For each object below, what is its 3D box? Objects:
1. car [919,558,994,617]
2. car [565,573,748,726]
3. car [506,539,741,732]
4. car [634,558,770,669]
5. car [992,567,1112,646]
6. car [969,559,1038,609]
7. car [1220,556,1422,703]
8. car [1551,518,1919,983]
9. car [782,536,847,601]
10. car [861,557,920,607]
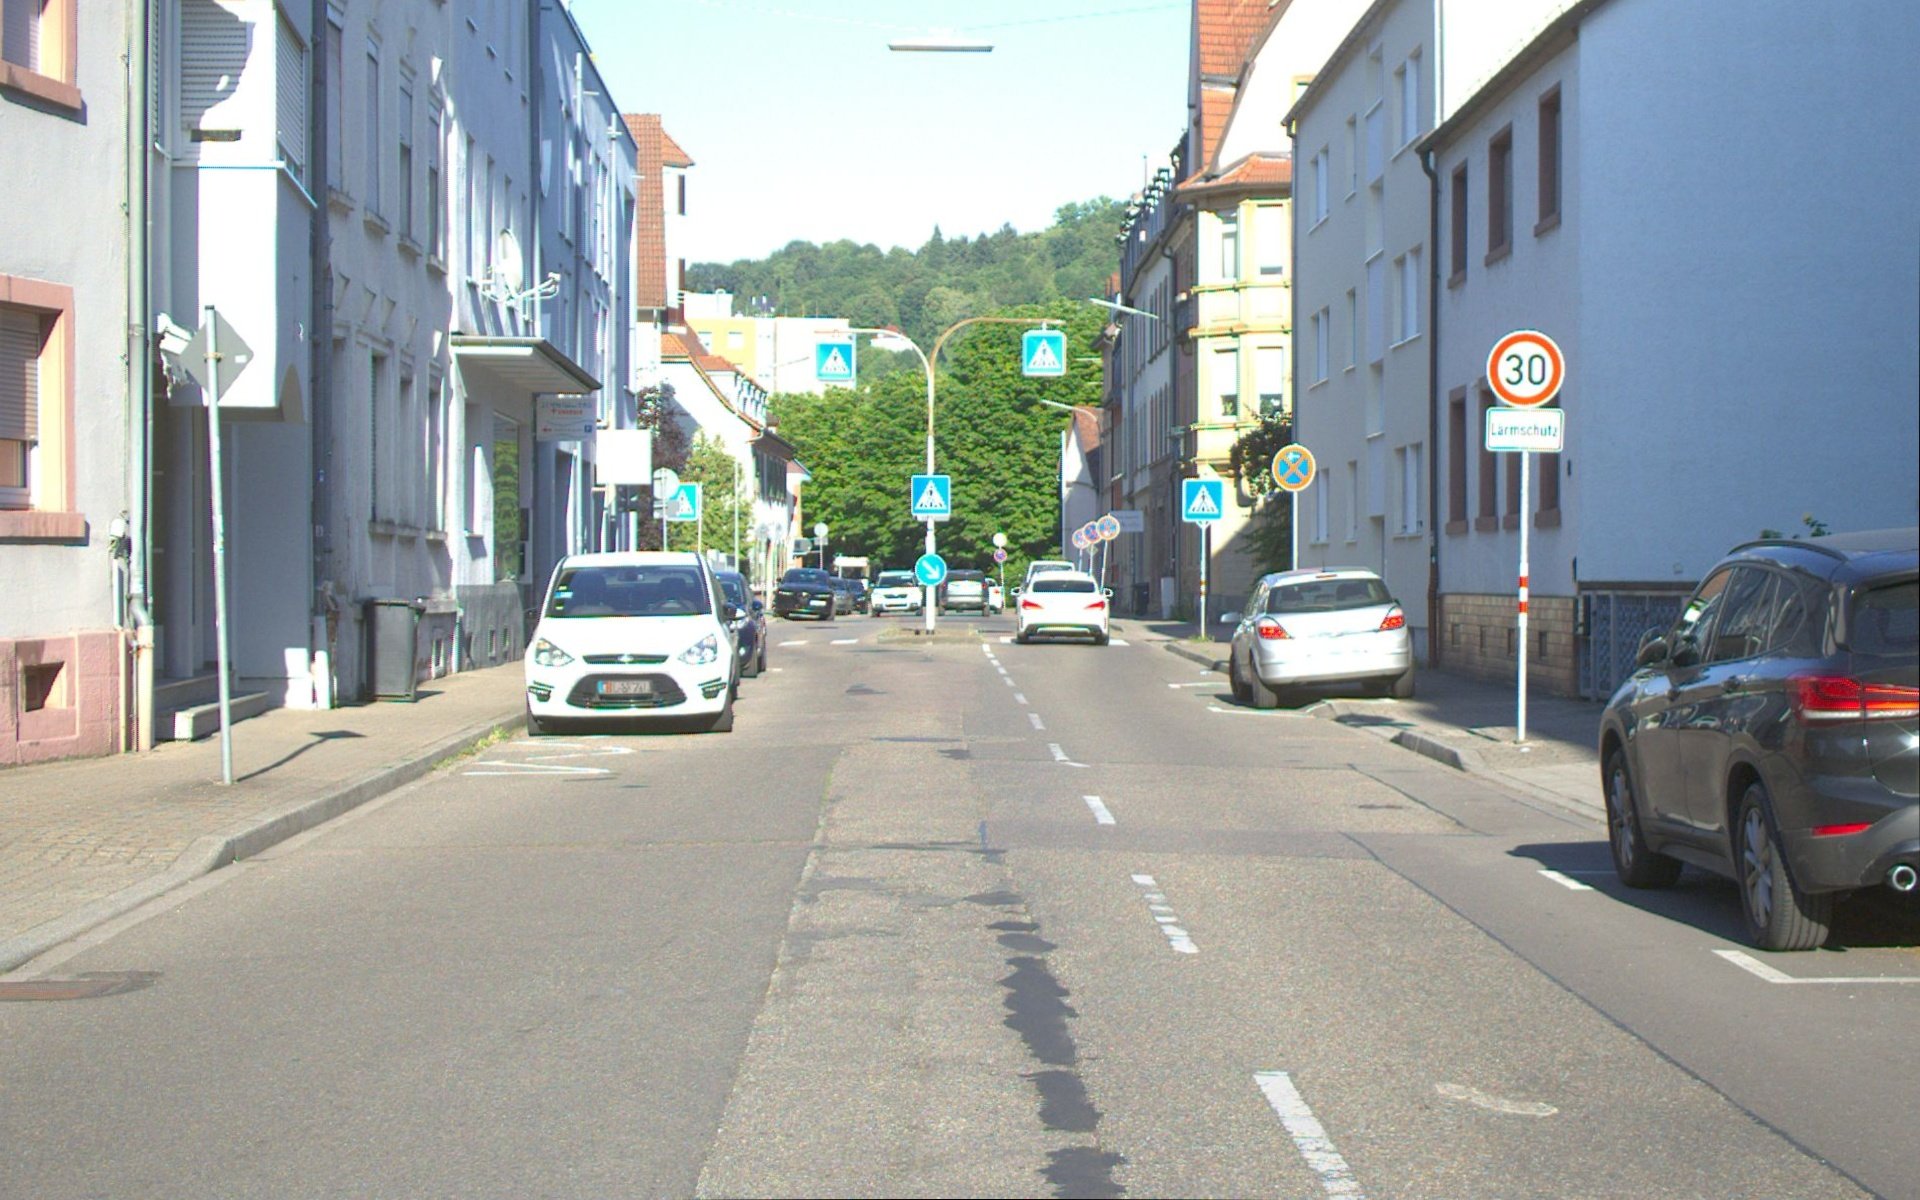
[{"bbox_3d":[-0.141,-0.458,120.437,1.993,2.007,4.001,-1,1,-9],"label":"car"},{"bbox_3d":[-3.271,0.492,37.703,1.764,1.490,4.127,-2,1,-2],"label":"car"},{"bbox_3d":[-3.055,0.270,32.056,1.993,1.642,5.222,0,1,-4],"label":"car"},{"bbox_3d":[-3.609,0.182,48.595,1.731,1.494,3.959,-1,0,-2],"label":"car"},{"bbox_3d":[1.753,0.107,66.785,1.993,1.461,4.000,0,0,-3],"label":"car"},{"bbox_3d":[1.744,-0.665,138.916,1.993,2.007,4.001,0,1,-11],"label":"car"},{"bbox_3d":[3.954,0.282,38.247,1.741,1.487,4.439,-2,1,0],"label":"car"},{"bbox_3d":[3.917,0.492,14.792,1.854,1.630,4.623,-3,1,0],"label":"car"},{"bbox_3d":[-4.599,-1.018,108.669,1.993,2.007,4.001,0,1,-3],"label":"car"},{"bbox_3d":[-2.496,-0.673,123.368,1.807,1.696,4.193,-2,1,-4],"label":"car"}]
